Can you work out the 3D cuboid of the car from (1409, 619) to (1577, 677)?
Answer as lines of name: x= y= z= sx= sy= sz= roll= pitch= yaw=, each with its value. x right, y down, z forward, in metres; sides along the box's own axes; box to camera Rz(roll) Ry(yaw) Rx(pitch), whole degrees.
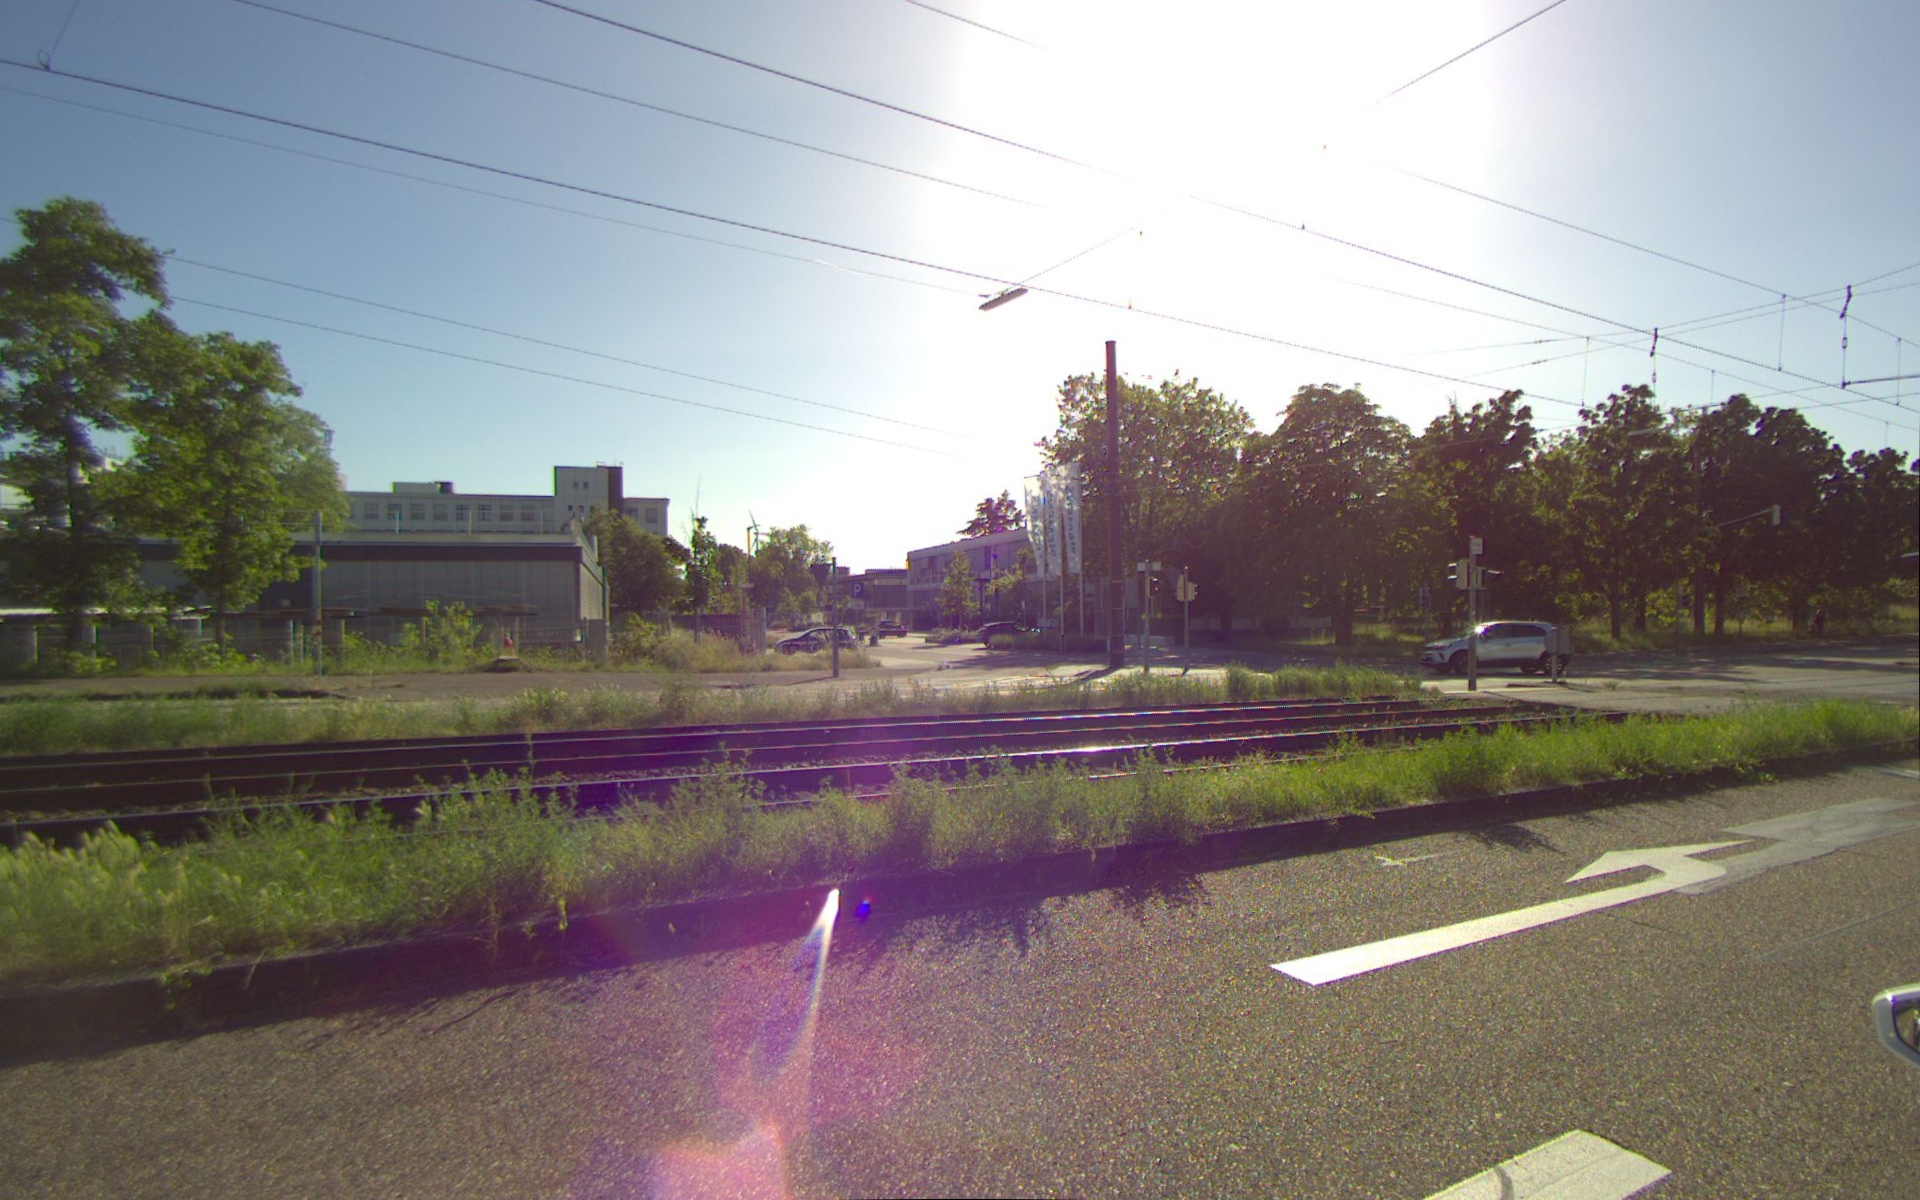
car: x=16.219 y=1.425 z=30.750 sx=4.168 sy=1.628 sz=1.858 roll=1 pitch=0 yaw=10

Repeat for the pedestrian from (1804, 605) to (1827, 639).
pedestrian: x=52.121 y=1.336 z=61.214 sx=0.853 sy=2.040 sz=0.835 roll=1 pitch=0 yaw=-32

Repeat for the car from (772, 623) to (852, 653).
car: x=-7.626 y=1.953 z=51.688 sx=3.806 sy=1.453 sz=1.687 roll=1 pitch=0 yaw=-23

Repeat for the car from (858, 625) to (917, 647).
car: x=-5.162 y=2.556 z=71.775 sx=3.893 sy=1.471 sz=1.688 roll=1 pitch=0 yaw=-21

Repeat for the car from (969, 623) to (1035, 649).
car: x=2.593 y=2.176 z=61.697 sx=3.818 sy=1.508 sz=1.682 roll=1 pitch=0 yaw=-32
